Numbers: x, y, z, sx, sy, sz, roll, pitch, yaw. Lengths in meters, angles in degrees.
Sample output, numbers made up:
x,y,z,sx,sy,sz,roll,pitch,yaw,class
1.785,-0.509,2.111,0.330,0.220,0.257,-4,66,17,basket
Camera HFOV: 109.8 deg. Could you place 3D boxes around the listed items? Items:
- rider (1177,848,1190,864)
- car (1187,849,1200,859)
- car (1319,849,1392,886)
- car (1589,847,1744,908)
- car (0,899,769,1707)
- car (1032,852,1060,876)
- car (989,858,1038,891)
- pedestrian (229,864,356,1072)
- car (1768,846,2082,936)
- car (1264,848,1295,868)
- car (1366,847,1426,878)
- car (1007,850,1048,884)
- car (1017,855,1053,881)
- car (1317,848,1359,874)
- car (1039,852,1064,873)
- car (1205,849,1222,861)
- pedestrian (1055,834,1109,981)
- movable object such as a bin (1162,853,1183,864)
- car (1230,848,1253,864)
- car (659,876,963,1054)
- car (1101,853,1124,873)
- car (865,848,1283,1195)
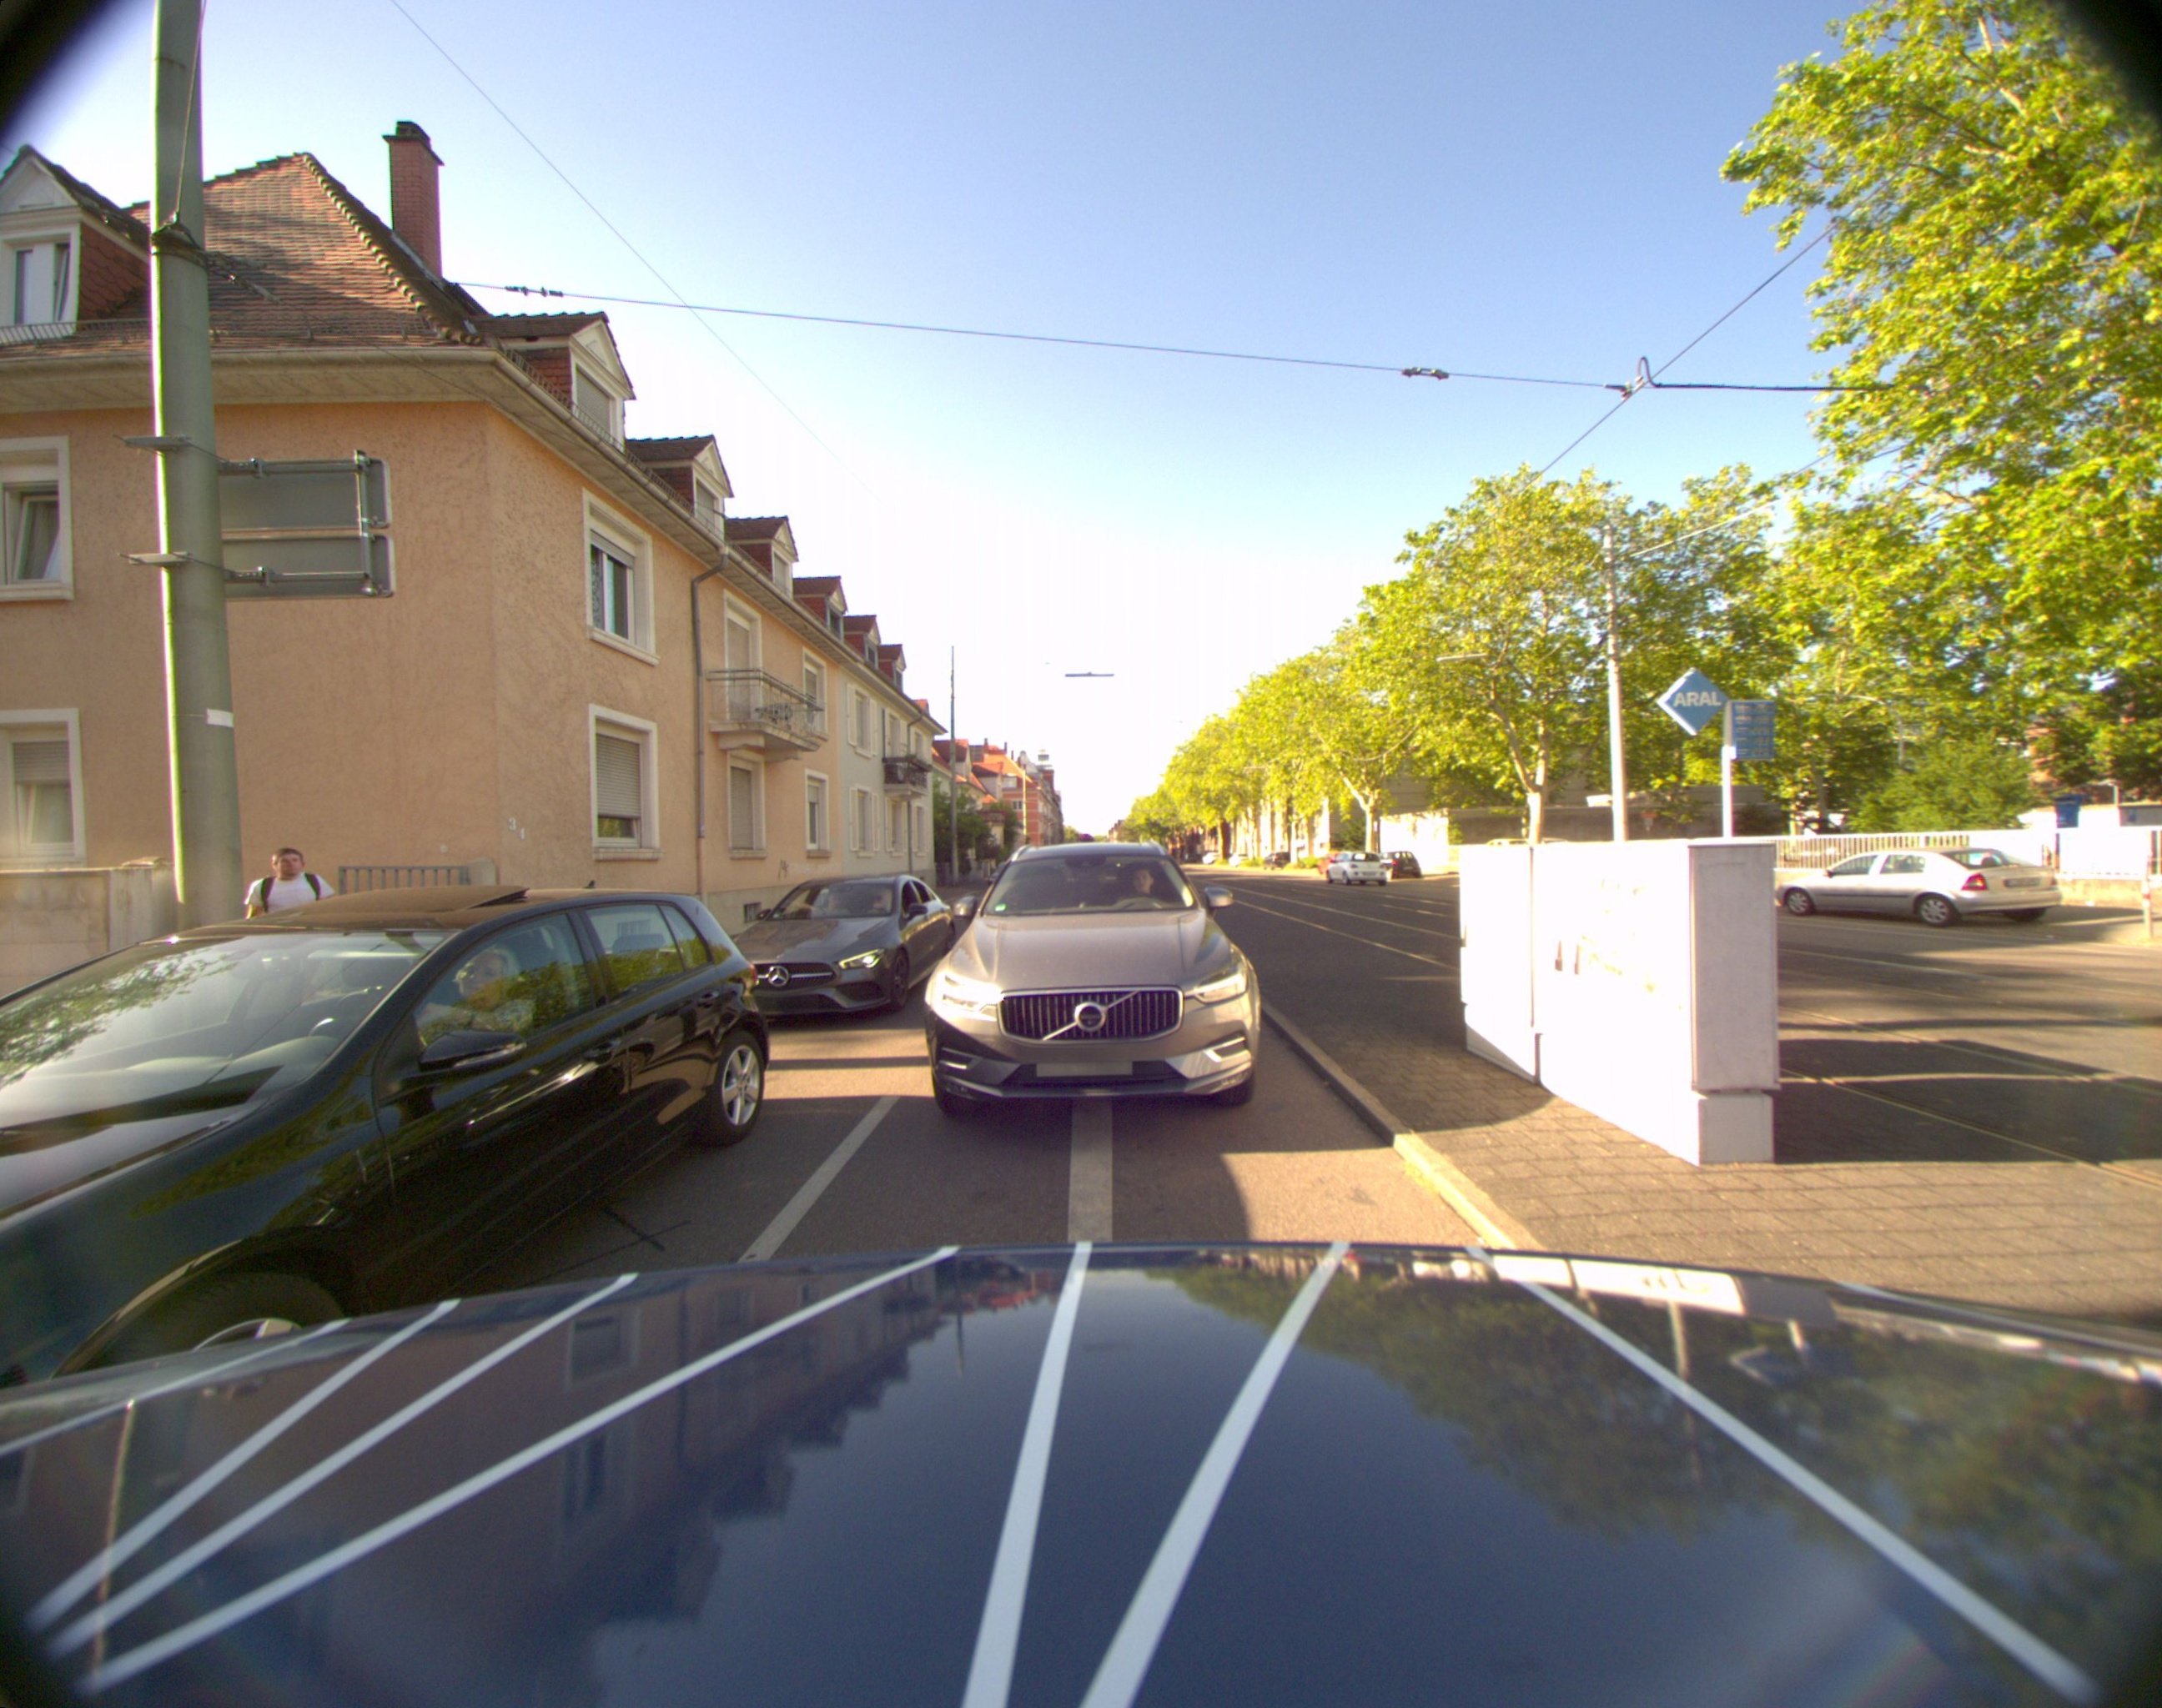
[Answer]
x,y,z,sx,sy,sz,roll,pitch,yaw,class
10.627,0.210,79.012,0.727,1.639,1.103,-3,1,-41,rider
18.559,0.043,125.558,1.661,1.452,3.730,-4,1,3,car
11.907,0.542,33.192,1.742,1.427,3.935,2,1,1,car
16.384,0.593,21.492,1.619,1.436,3.606,-4,1,3,car
-2.803,1.041,2.612,1.717,1.430,3.990,-2,1,1,car
-2.781,0.763,60.915,1.825,1.701,4.334,-2,1,1,car
-3.231,0.956,37.142,1.825,1.422,4.334,-2,1,1,car
-6.692,0.911,6.451,0.758,1.596,0.612,5,1,37,pedestrian
16.198,0.626,14.954,1.687,1.358,3.989,-6,0,1,car
17.210,0.313,65.943,1.754,1.582,3.878,-4,1,3,car
16.835,0.441,40.778,1.723,1.436,3.769,-4,1,3,car
-2.907,0.681,42.396,1.825,1.701,4.334,-2,1,1,car
-2.789,0.829,46.974,1.825,1.424,4.334,-2,1,1,car
16.933,0.455,50.281,1.661,1.486,3.377,-4,1,3,car
-2.593,0.684,67.281,1.825,1.701,4.334,-2,1,1,car
17.578,0.088,100.682,1.661,1.452,3.730,-4,1,3,car
0.021,0.673,9.876,0.609,1.832,0.599,-2,1,1,pedestrian
9.641,0.478,80.108,1.181,1.097,1.830,-3,1,-41,movable object such as a bin
17.622,0.234,83.468,1.754,1.532,3.878,-4,1,3,car
-2.719,1.046,8.910,1.825,1.422,4.491,-2,-1,1,car
2.794,0.758,68.232,1.851,1.640,3.999,-2,1,1,car
0.120,0.795,5.780,1.924,1.579,4.387,-2,1,4,car
